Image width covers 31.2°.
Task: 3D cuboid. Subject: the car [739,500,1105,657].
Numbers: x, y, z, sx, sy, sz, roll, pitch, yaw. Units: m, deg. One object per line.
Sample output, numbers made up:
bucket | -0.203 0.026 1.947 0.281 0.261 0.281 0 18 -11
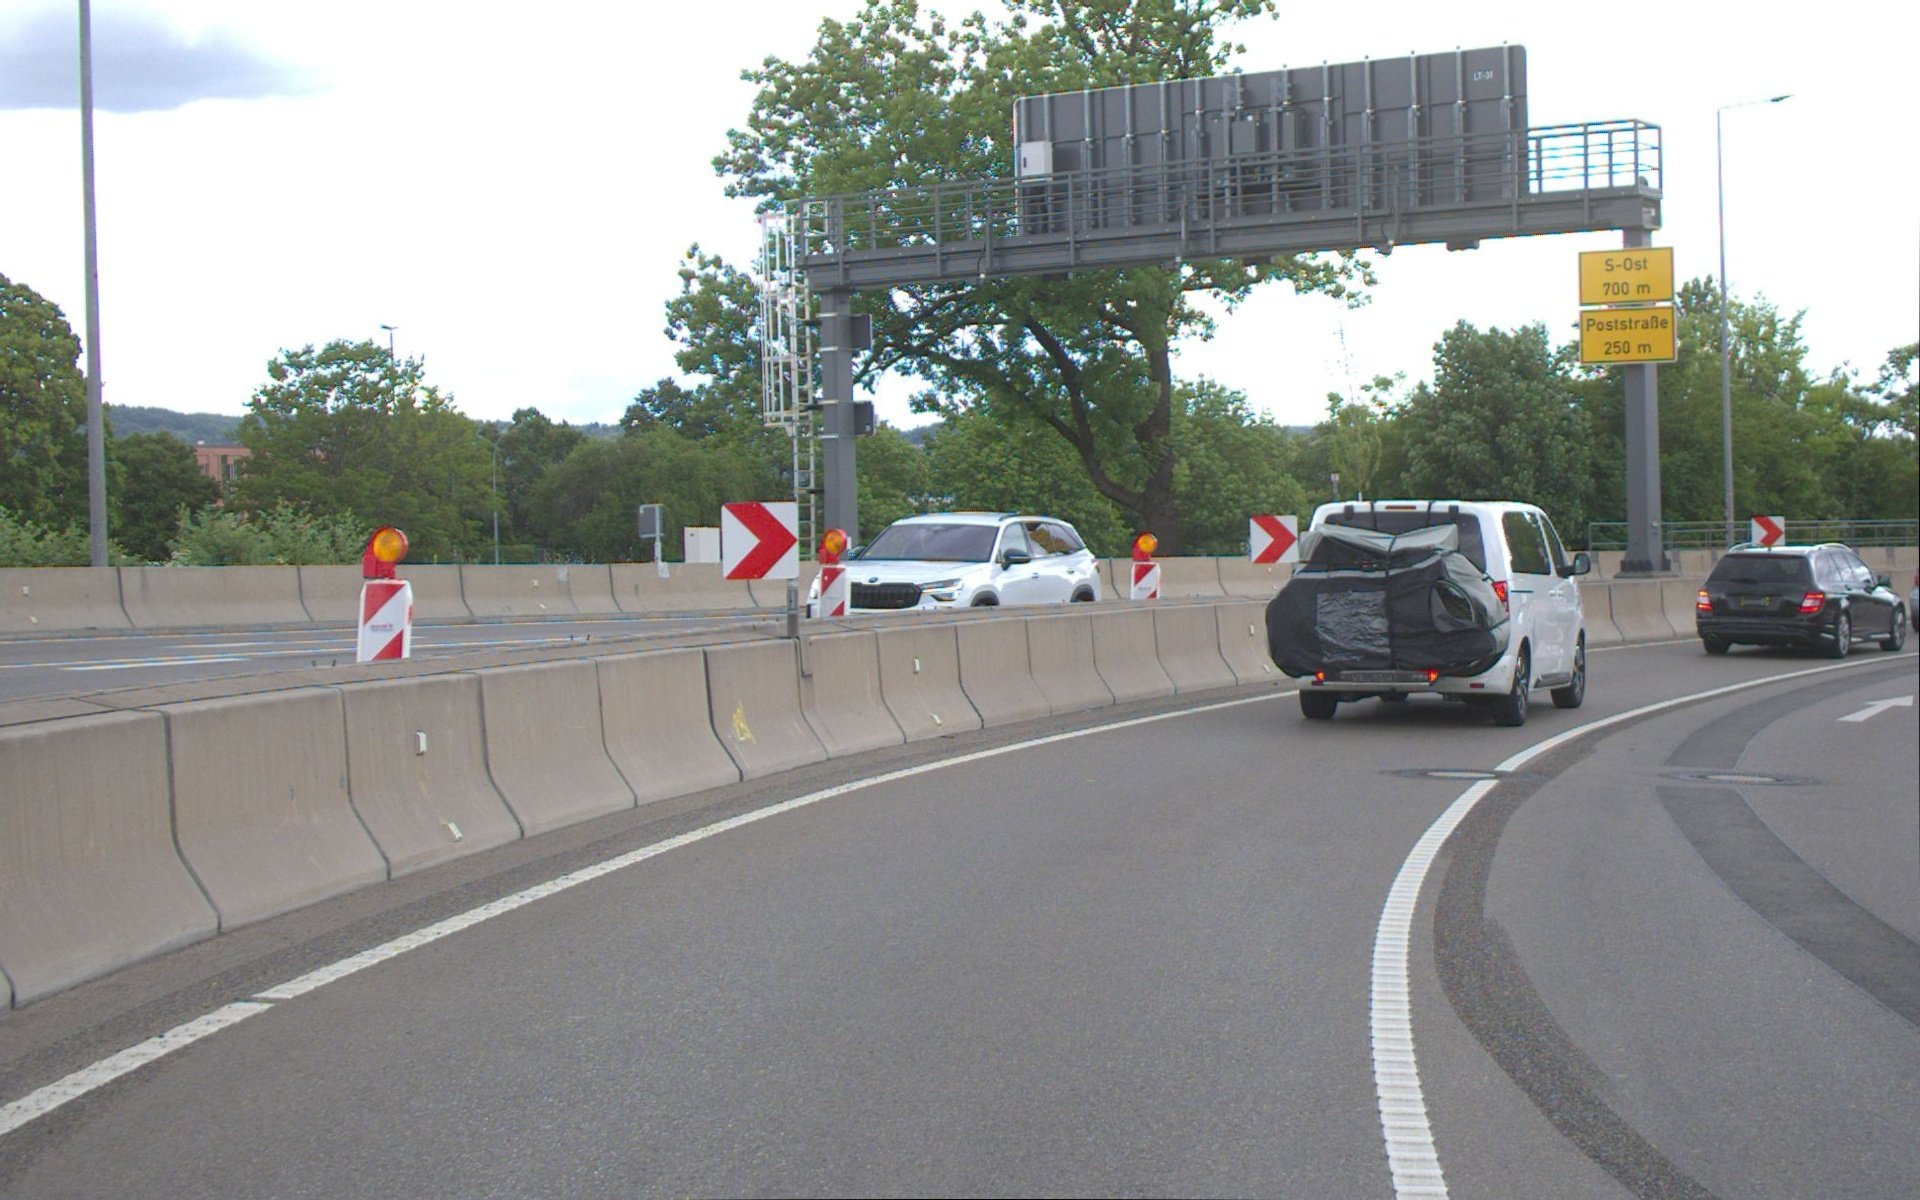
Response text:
car | -0.306 -0.280 37.144 2.100 1.546 5.137 1 2 22

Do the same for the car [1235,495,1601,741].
car | 4.079 0.050 29.718 1.995 1.852 5.636 2 2 19

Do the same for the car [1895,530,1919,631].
car | 15.681 -0.328 52.170 1.924 1.483 4.059 0 2 30

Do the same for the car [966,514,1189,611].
car | 1.886 -0.603 53.872 1.929 1.445 3.994 1 1 28

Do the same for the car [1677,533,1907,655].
car | 10.706 -0.100 44.062 1.818 1.429 4.059 -1 1 29
